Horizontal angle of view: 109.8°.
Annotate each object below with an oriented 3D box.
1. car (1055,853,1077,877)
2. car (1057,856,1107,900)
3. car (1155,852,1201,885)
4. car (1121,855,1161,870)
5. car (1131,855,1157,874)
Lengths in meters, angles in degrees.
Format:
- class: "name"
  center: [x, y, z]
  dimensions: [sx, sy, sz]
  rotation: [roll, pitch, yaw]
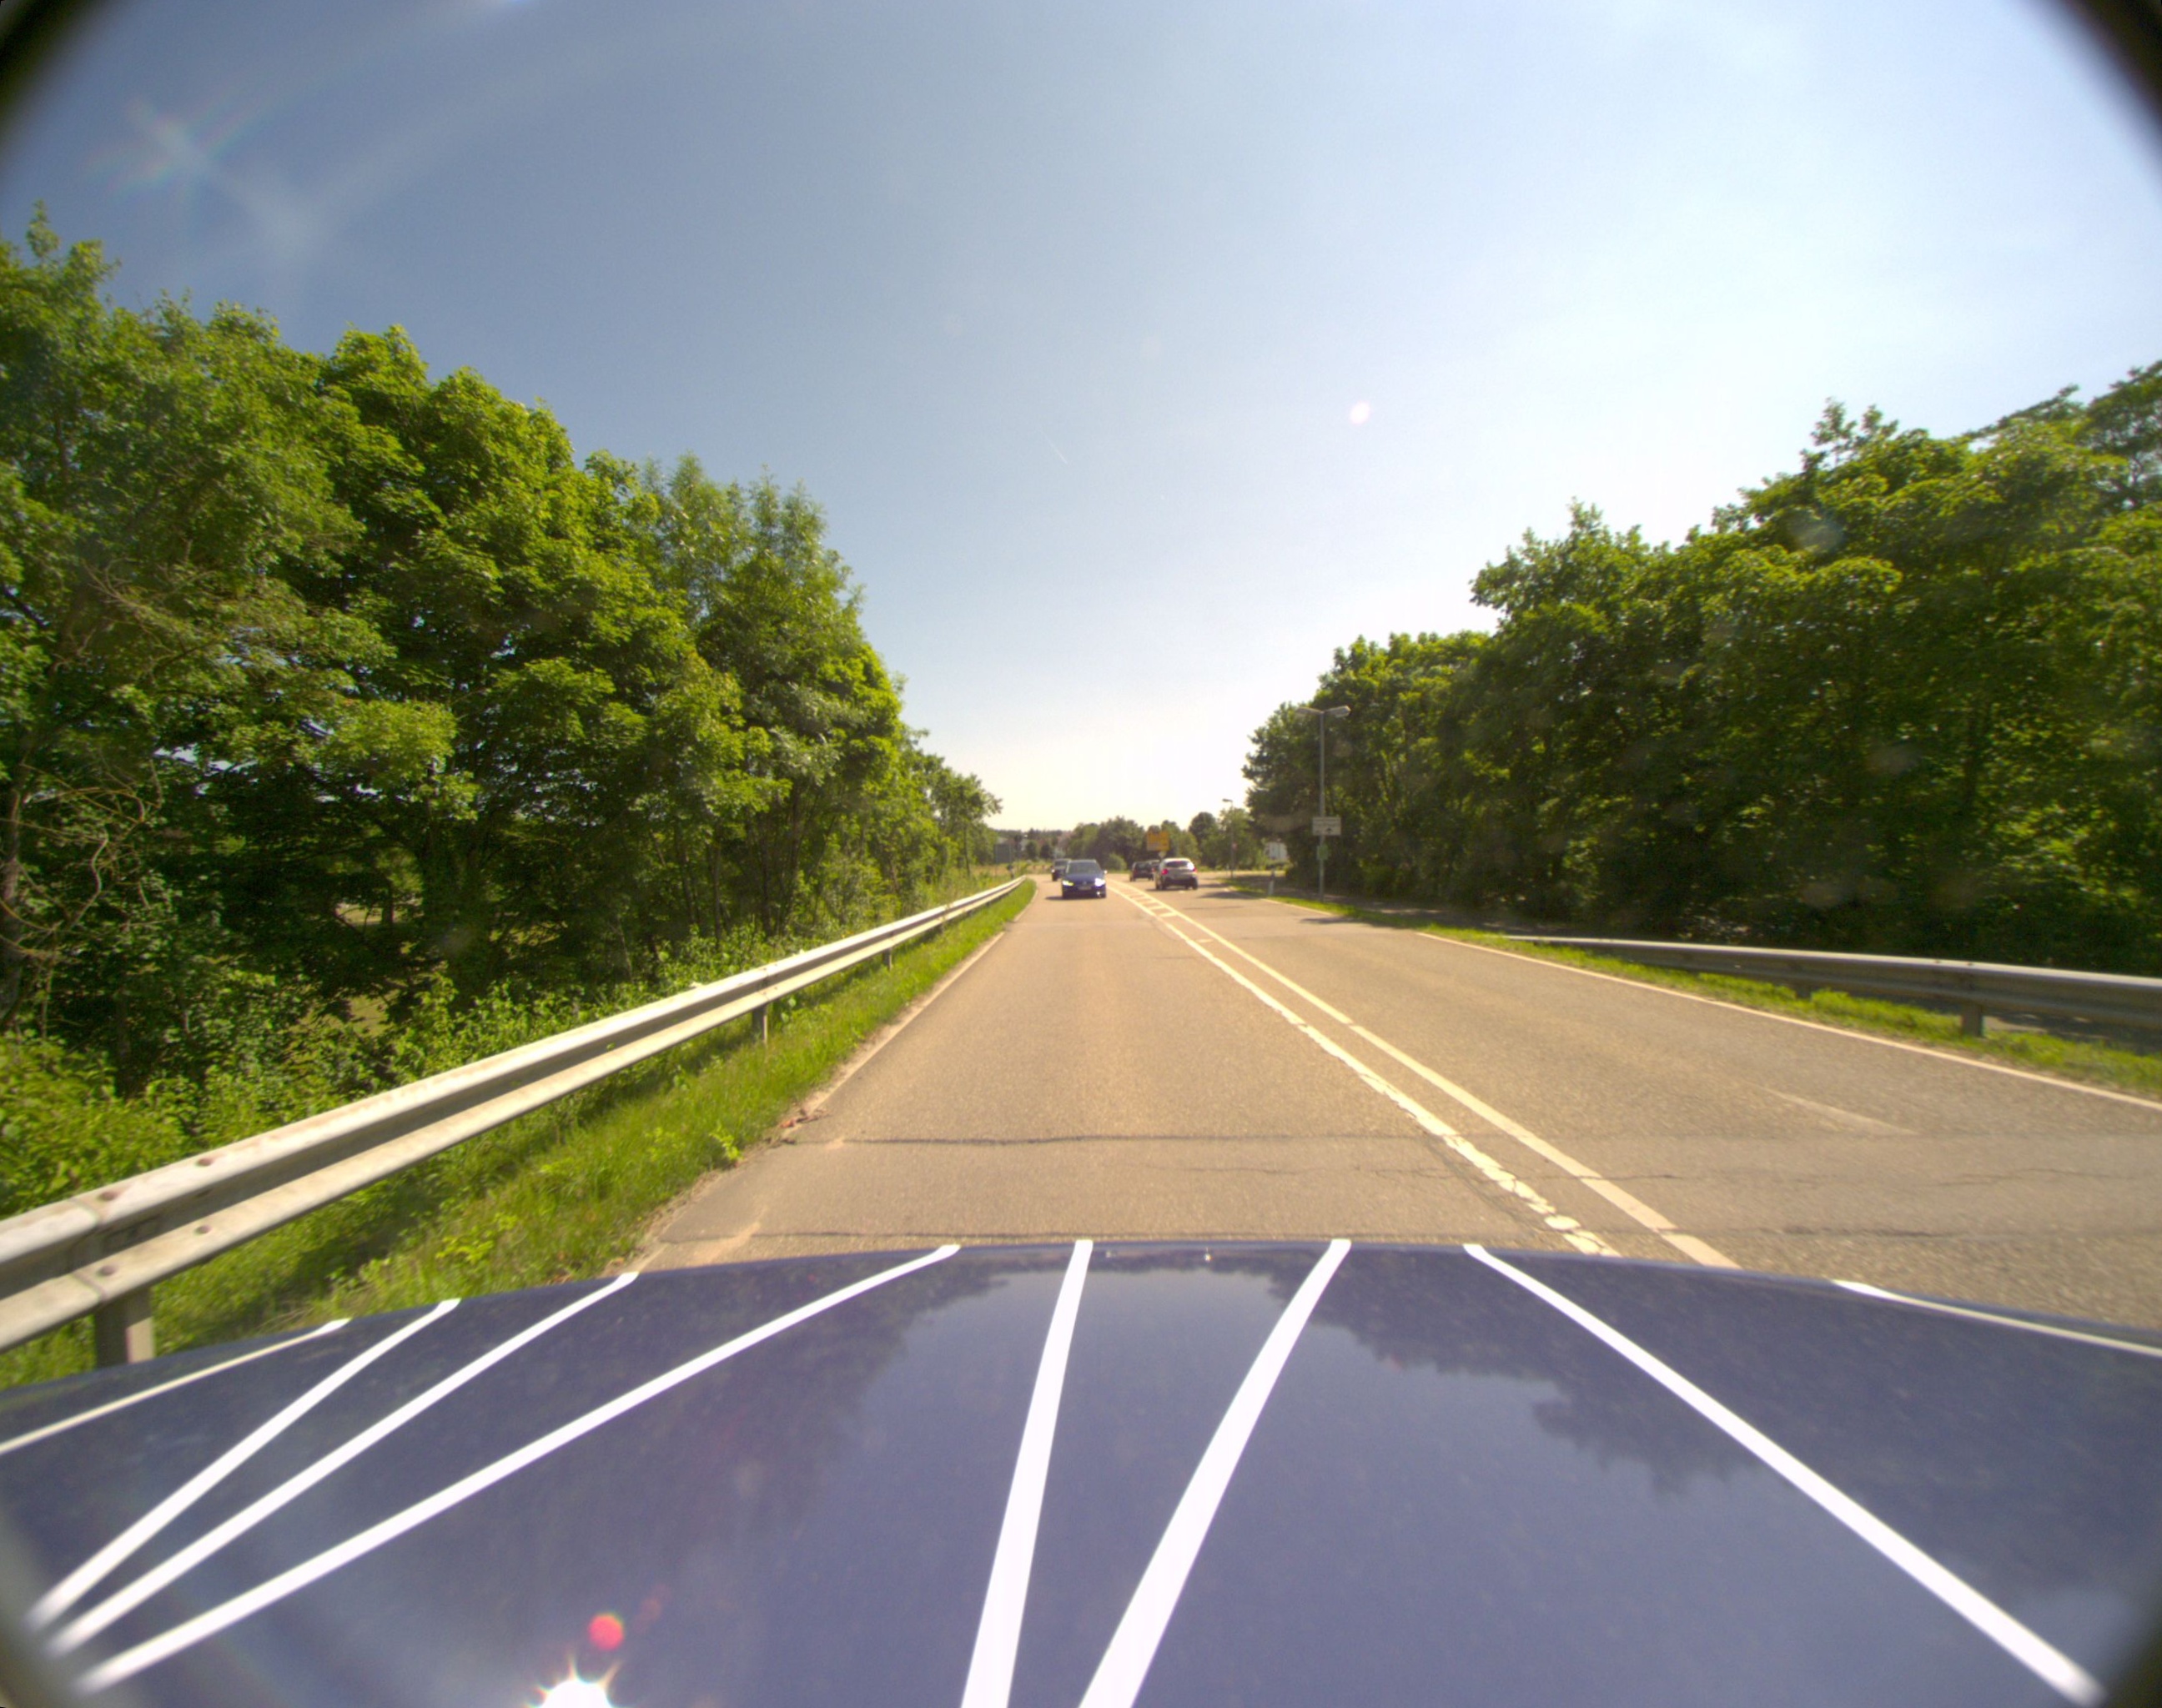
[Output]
- class: "car"
  center: [-1.333, 0.967, 68.105]
  dimensions: [1.779, 2.006, 4.001]
  rotation: [1, 0, 1]
- class: "car"
  center: [0.109, 0.946, 31.534]
  dimensions: [1.828, 1.591, 4.196]
  rotation: [-2, 0, 3]
- class: "car"
  center: [4.663, 0.681, 36.942]
  dimensions: [1.743, 1.447, 3.889]
  rotation: [-2, 0, 1]
- class: "car"
  center: [7.167, 0.974, 90.558]
  dimensions: [4.381, 1.635, 1.747]
  rotation: [-1, -3, -22]
- class: "car"
  center: [4.744, 0.774, 57.432]
  dimensions: [1.631, 1.396, 3.432]
  rotation: [-2, 0, 0]
